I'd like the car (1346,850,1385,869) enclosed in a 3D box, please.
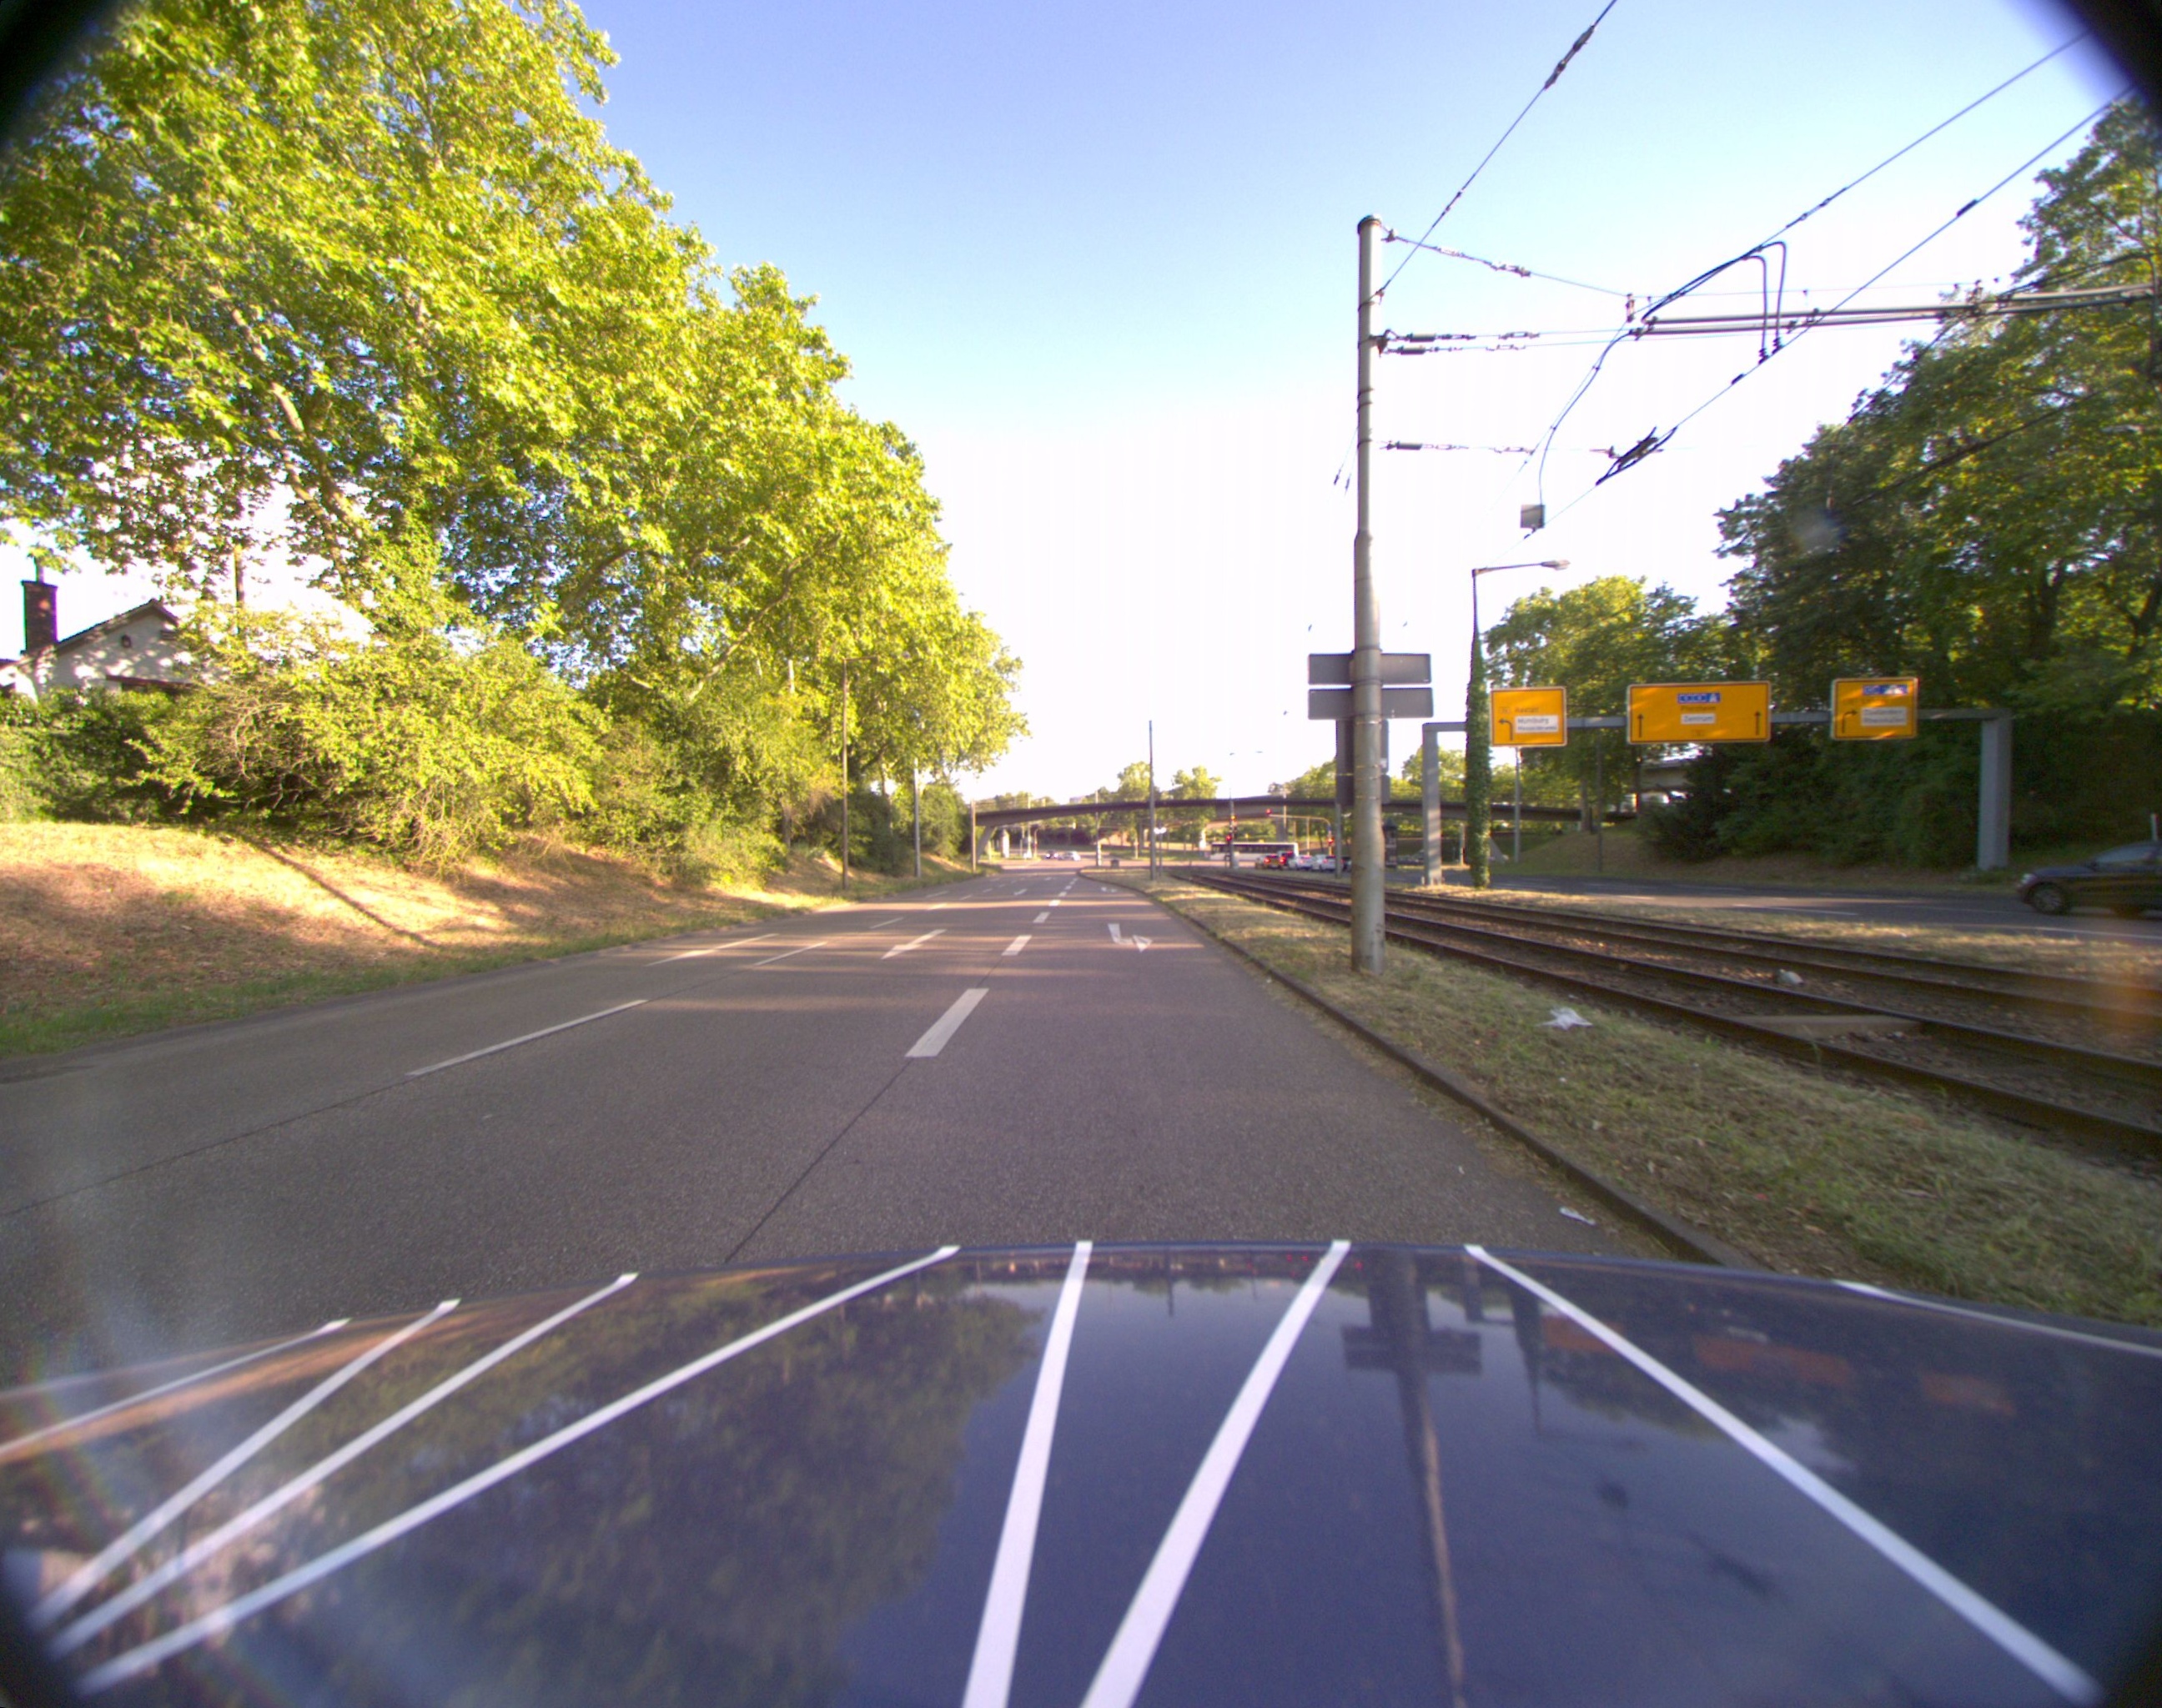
[{"bbox_3d":[23.974,0.425,64.078,1.813,1.535,4.000,-1,0,1],"label":"car"}]

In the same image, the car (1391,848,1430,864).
[{"bbox_3d":[37.503,0.246,86.535,3.991,1.646,1.787,-2,1,22],"label":"car"}]

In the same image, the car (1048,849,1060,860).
[{"bbox_3d":[-4.889,0.067,139.200,1.960,1.779,3.998,-2,0,-5],"label":"car"}]

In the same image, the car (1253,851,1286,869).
[{"bbox_3d":[16.154,0.495,65.232,1.767,1.535,4.000,-1,0,0],"label":"car"}]

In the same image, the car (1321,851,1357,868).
[{"bbox_3d":[23.745,0.475,70.204,1.868,1.416,4.226,-1,0,0],"label":"car"}]

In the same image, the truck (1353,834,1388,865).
[{"bbox_3d":[28.390,-0.453,74.794,2.281,2.862,6.886,-1,0,13],"label":"truck"}]

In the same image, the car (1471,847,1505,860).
[{"bbox_3d":[54.096,-0.091,101.082,3.804,1.570,1.679,-2,1,24],"label":"car"}]

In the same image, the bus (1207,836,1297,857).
[{"bbox_3d":[26.148,-1.121,116.414,13.164,2.846,2.420,-2,1,20],"label":"bus"}]

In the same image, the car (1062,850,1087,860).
[{"bbox_3d":[-1.080,0.115,126.991,3.647,1.503,1.665,-2,1,23],"label":"car"}]

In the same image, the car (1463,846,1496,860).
[{"bbox_3d":[54.782,-0.126,104.563,3.805,1.848,1.679,-2,1,20],"label":"car"}]

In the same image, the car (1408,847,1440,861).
[{"bbox_3d":[46.985,0.012,104.201,3.805,1.848,1.679,-2,1,20],"label":"car"}]

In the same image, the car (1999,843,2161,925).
[{"bbox_3d":[21.204,0.557,14.867,1.755,1.548,3.973,0,0,2],"label":"car"}]

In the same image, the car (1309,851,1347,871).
[{"bbox_3d":[20.034,0.530,61.801,1.767,1.535,4.000,-1,0,0],"label":"car"}]

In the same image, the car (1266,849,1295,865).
[{"bbox_3d":[19.589,0.251,74.737,1.917,1.540,4.227,-1,0,4],"label":"car"}]

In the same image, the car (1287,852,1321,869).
[{"bbox_3d":[19.923,0.531,68.079,1.918,1.416,4.227,-1,0,2],"label":"car"}]
